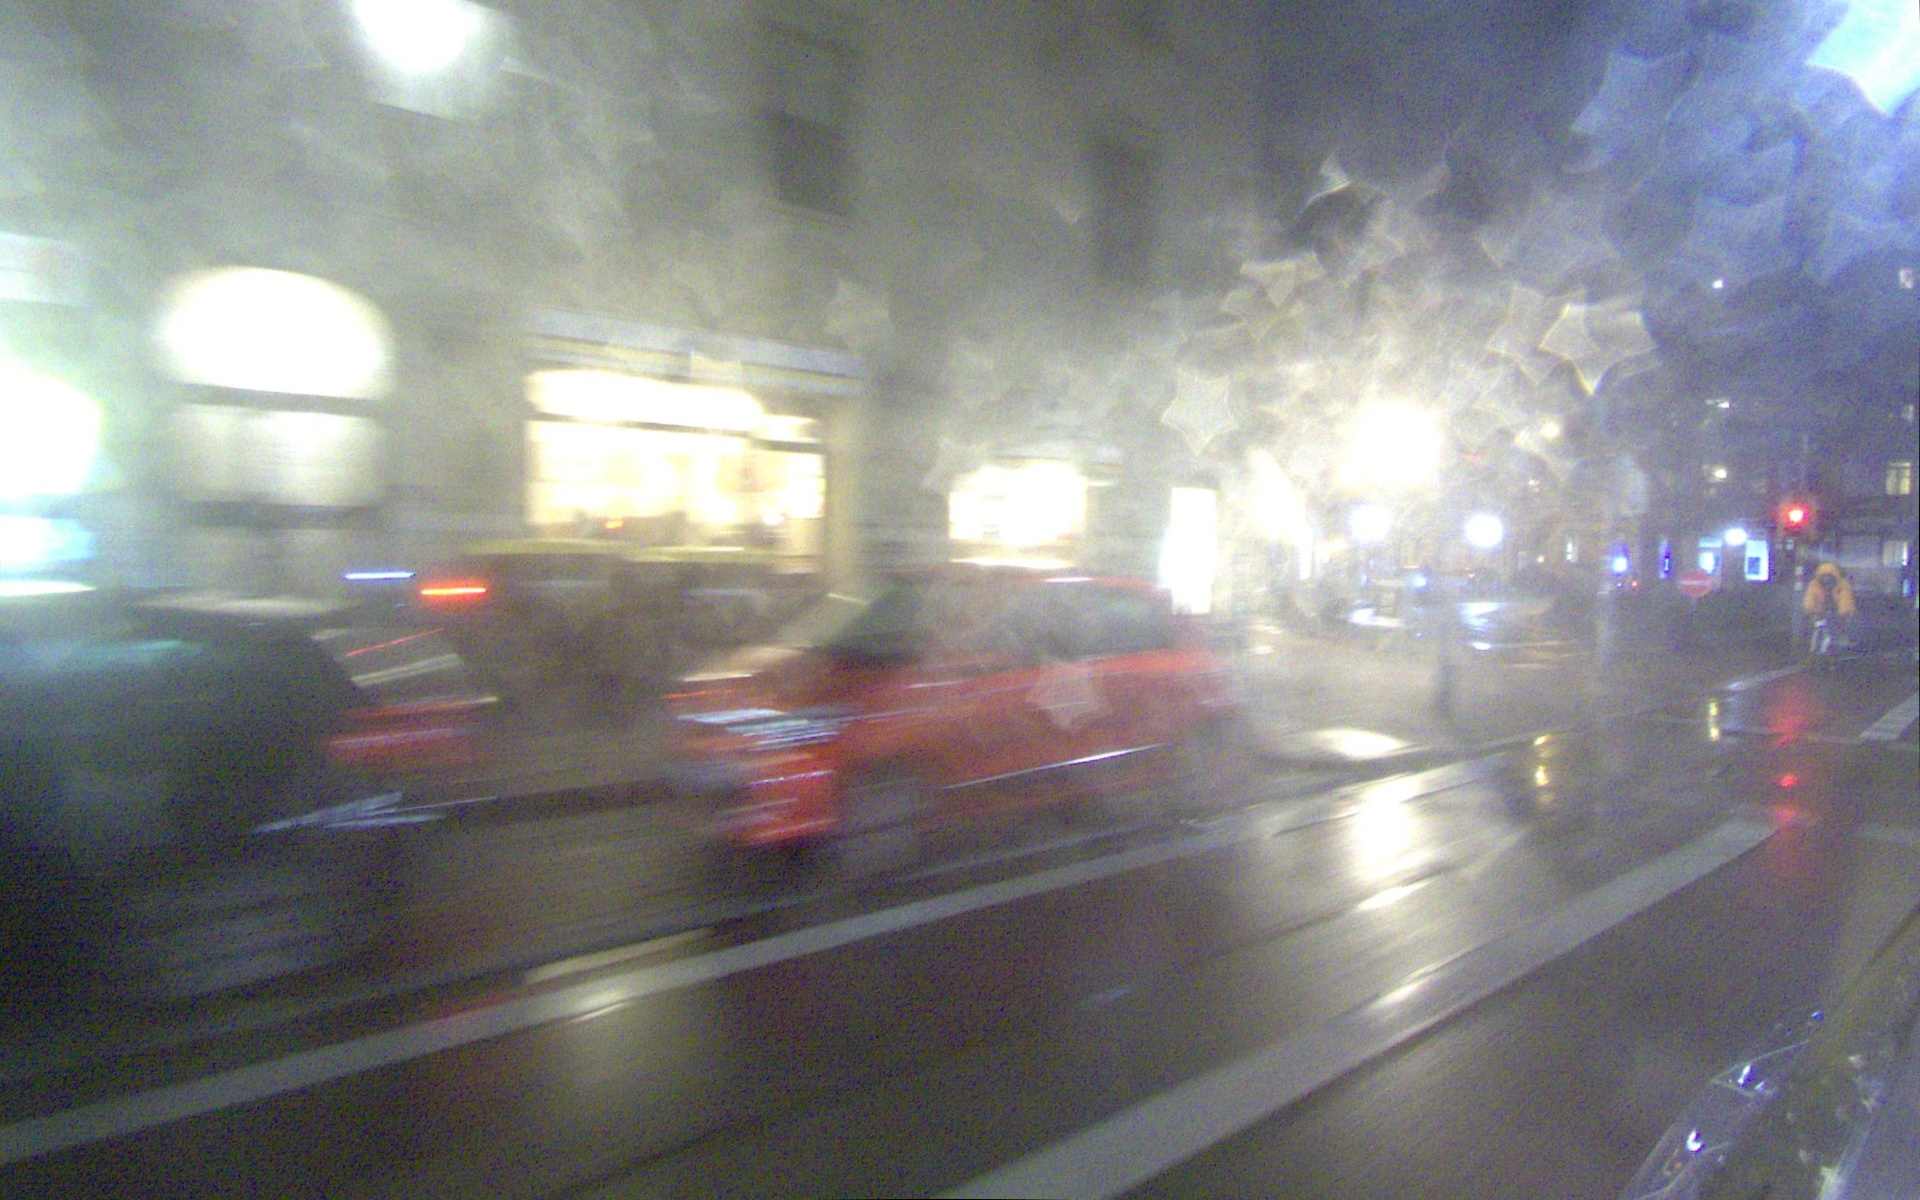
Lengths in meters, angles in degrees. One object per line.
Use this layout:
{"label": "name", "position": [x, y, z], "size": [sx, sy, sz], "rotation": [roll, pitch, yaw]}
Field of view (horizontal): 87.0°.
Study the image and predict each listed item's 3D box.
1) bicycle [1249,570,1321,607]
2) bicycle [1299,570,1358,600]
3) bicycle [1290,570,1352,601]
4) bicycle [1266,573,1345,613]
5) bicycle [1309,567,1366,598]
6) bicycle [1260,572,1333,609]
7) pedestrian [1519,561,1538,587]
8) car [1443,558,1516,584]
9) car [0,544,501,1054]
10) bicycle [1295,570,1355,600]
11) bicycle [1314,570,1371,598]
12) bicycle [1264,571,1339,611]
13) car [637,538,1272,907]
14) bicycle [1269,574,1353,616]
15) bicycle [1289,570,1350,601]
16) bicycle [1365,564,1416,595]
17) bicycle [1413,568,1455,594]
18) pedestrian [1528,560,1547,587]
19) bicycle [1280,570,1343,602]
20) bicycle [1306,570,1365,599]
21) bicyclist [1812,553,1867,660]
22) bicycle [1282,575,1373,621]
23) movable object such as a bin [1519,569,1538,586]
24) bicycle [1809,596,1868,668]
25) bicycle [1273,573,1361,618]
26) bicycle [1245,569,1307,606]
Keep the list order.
{"label": "bicycle", "position": [9.855, -0.363, 30.695], "size": [1.936, 1.066, 0.643], "rotation": [1, 3, -2]}
{"label": "bicycle", "position": [13.765, -0.574, 37.807], "size": [1.967, 1.018, 0.633], "rotation": [3, 4, 42]}
{"label": "bicycle", "position": [12.816, -0.517, 35.972], "size": [1.967, 1.018, 0.633], "rotation": [3, 4, 42]}
{"label": "bicycle", "position": [9.410, -0.205, 27.632], "size": [1.945, 1.019, 0.640], "rotation": [1, 3, 13]}
{"label": "bicycle", "position": [14.794, -0.706, 39.675], "size": [1.925, 1.128, 0.719], "rotation": [3, 4, 42]}
{"label": "bicycle", "position": [10.085, -0.309, 30.361], "size": [1.967, 1.018, 0.633], "rotation": [3, 4, 42]}
{"label": "pedestrian", "position": [36.541, -1.693, 65.081], "size": [0.621, 1.658, 0.876], "rotation": [-1, 1, -9]}
{"label": "car", "position": [34.404, -1.936, 67.182], "size": [1.850, 1.613, 4.506], "rotation": [-2, 2, -12]}
{"label": "car", "position": [-3.854, 0.589, 3.389], "size": [3.979, 1.458, 1.652], "rotation": [-1, 6, -36]}
{"label": "bicycle", "position": [13.389, -0.563, 37.170], "size": [1.967, 1.018, 0.633], "rotation": [3, 4, 42]}
{"label": "bicycle", "position": [14.745, -0.621, 39.013], "size": [1.925, 0.999, 0.719], "rotation": [3, 4, 42]}
{"label": "bicycle", "position": [9.744, -0.273, 28.951], "size": [1.945, 1.078, 0.640], "rotation": [1, 3, 13]}
{"label": "car", "position": [0.066, 0.483, 6.154], "size": [3.514, 1.542, 1.654], "rotation": [-1, 7, -36]}
{"label": "bicycle", "position": [9.070, -0.137, 26.218], "size": [1.945, 1.019, 0.640], "rotation": [1, 3, 13]}
{"label": "bicycle", "position": [13.009, -0.545, 36.650], "size": [1.967, 1.018, 0.633], "rotation": [3, 4, 42]}
{"label": "bicycle", "position": [18.309, -0.884, 43.051], "size": [1.868, 1.232, 0.719], "rotation": [3, 4, 42]}
{"label": "bicycle", "position": [21.246, -0.847, 45.357], "size": [1.618, 1.094, 0.557], "rotation": [2, 5, 41]}
{"label": "pedestrian", "position": [37.191, -1.706, 65.167], "size": [0.621, 1.658, 0.844], "rotation": [-1, 1, -9]}
{"label": "bicycle", "position": [12.300, -0.505, 35.446], "size": [1.967, 1.046, 0.633], "rotation": [3, 4, 42]}
{"label": "bicycle", "position": [14.218, -0.597, 38.348], "size": [1.967, 1.018, 0.678], "rotation": [3, 4, 42]}
{"label": "bicyclist", "position": [13.326, 0.081, 15.331], "size": [0.570, 1.567, 0.803], "rotation": [0, 1, 45]}
{"label": "bicycle", "position": [8.765, -0.068, 24.193], "size": [1.945, 1.019, 0.640], "rotation": [1, 3, 13]}
{"label": "movable object such as a bin", "position": [37.057, -1.461, 65.989], "size": [0.621, 1.129, 0.924], "rotation": [-1, 1, -9]}
{"label": "bicycle", "position": [13.304, 0.457, 15.312], "size": [0.570, 0.981, 1.752], "rotation": [0, 1, 44]}
{"label": "bicycle", "position": [8.809, -0.120, 25.044], "size": [1.945, 1.047, 0.640], "rotation": [1, 3, 13]}
{"label": "bicycle", "position": [9.913, -0.406, 31.794], "size": [1.798, 1.100, 0.718], "rotation": [1, 3, 13]}
